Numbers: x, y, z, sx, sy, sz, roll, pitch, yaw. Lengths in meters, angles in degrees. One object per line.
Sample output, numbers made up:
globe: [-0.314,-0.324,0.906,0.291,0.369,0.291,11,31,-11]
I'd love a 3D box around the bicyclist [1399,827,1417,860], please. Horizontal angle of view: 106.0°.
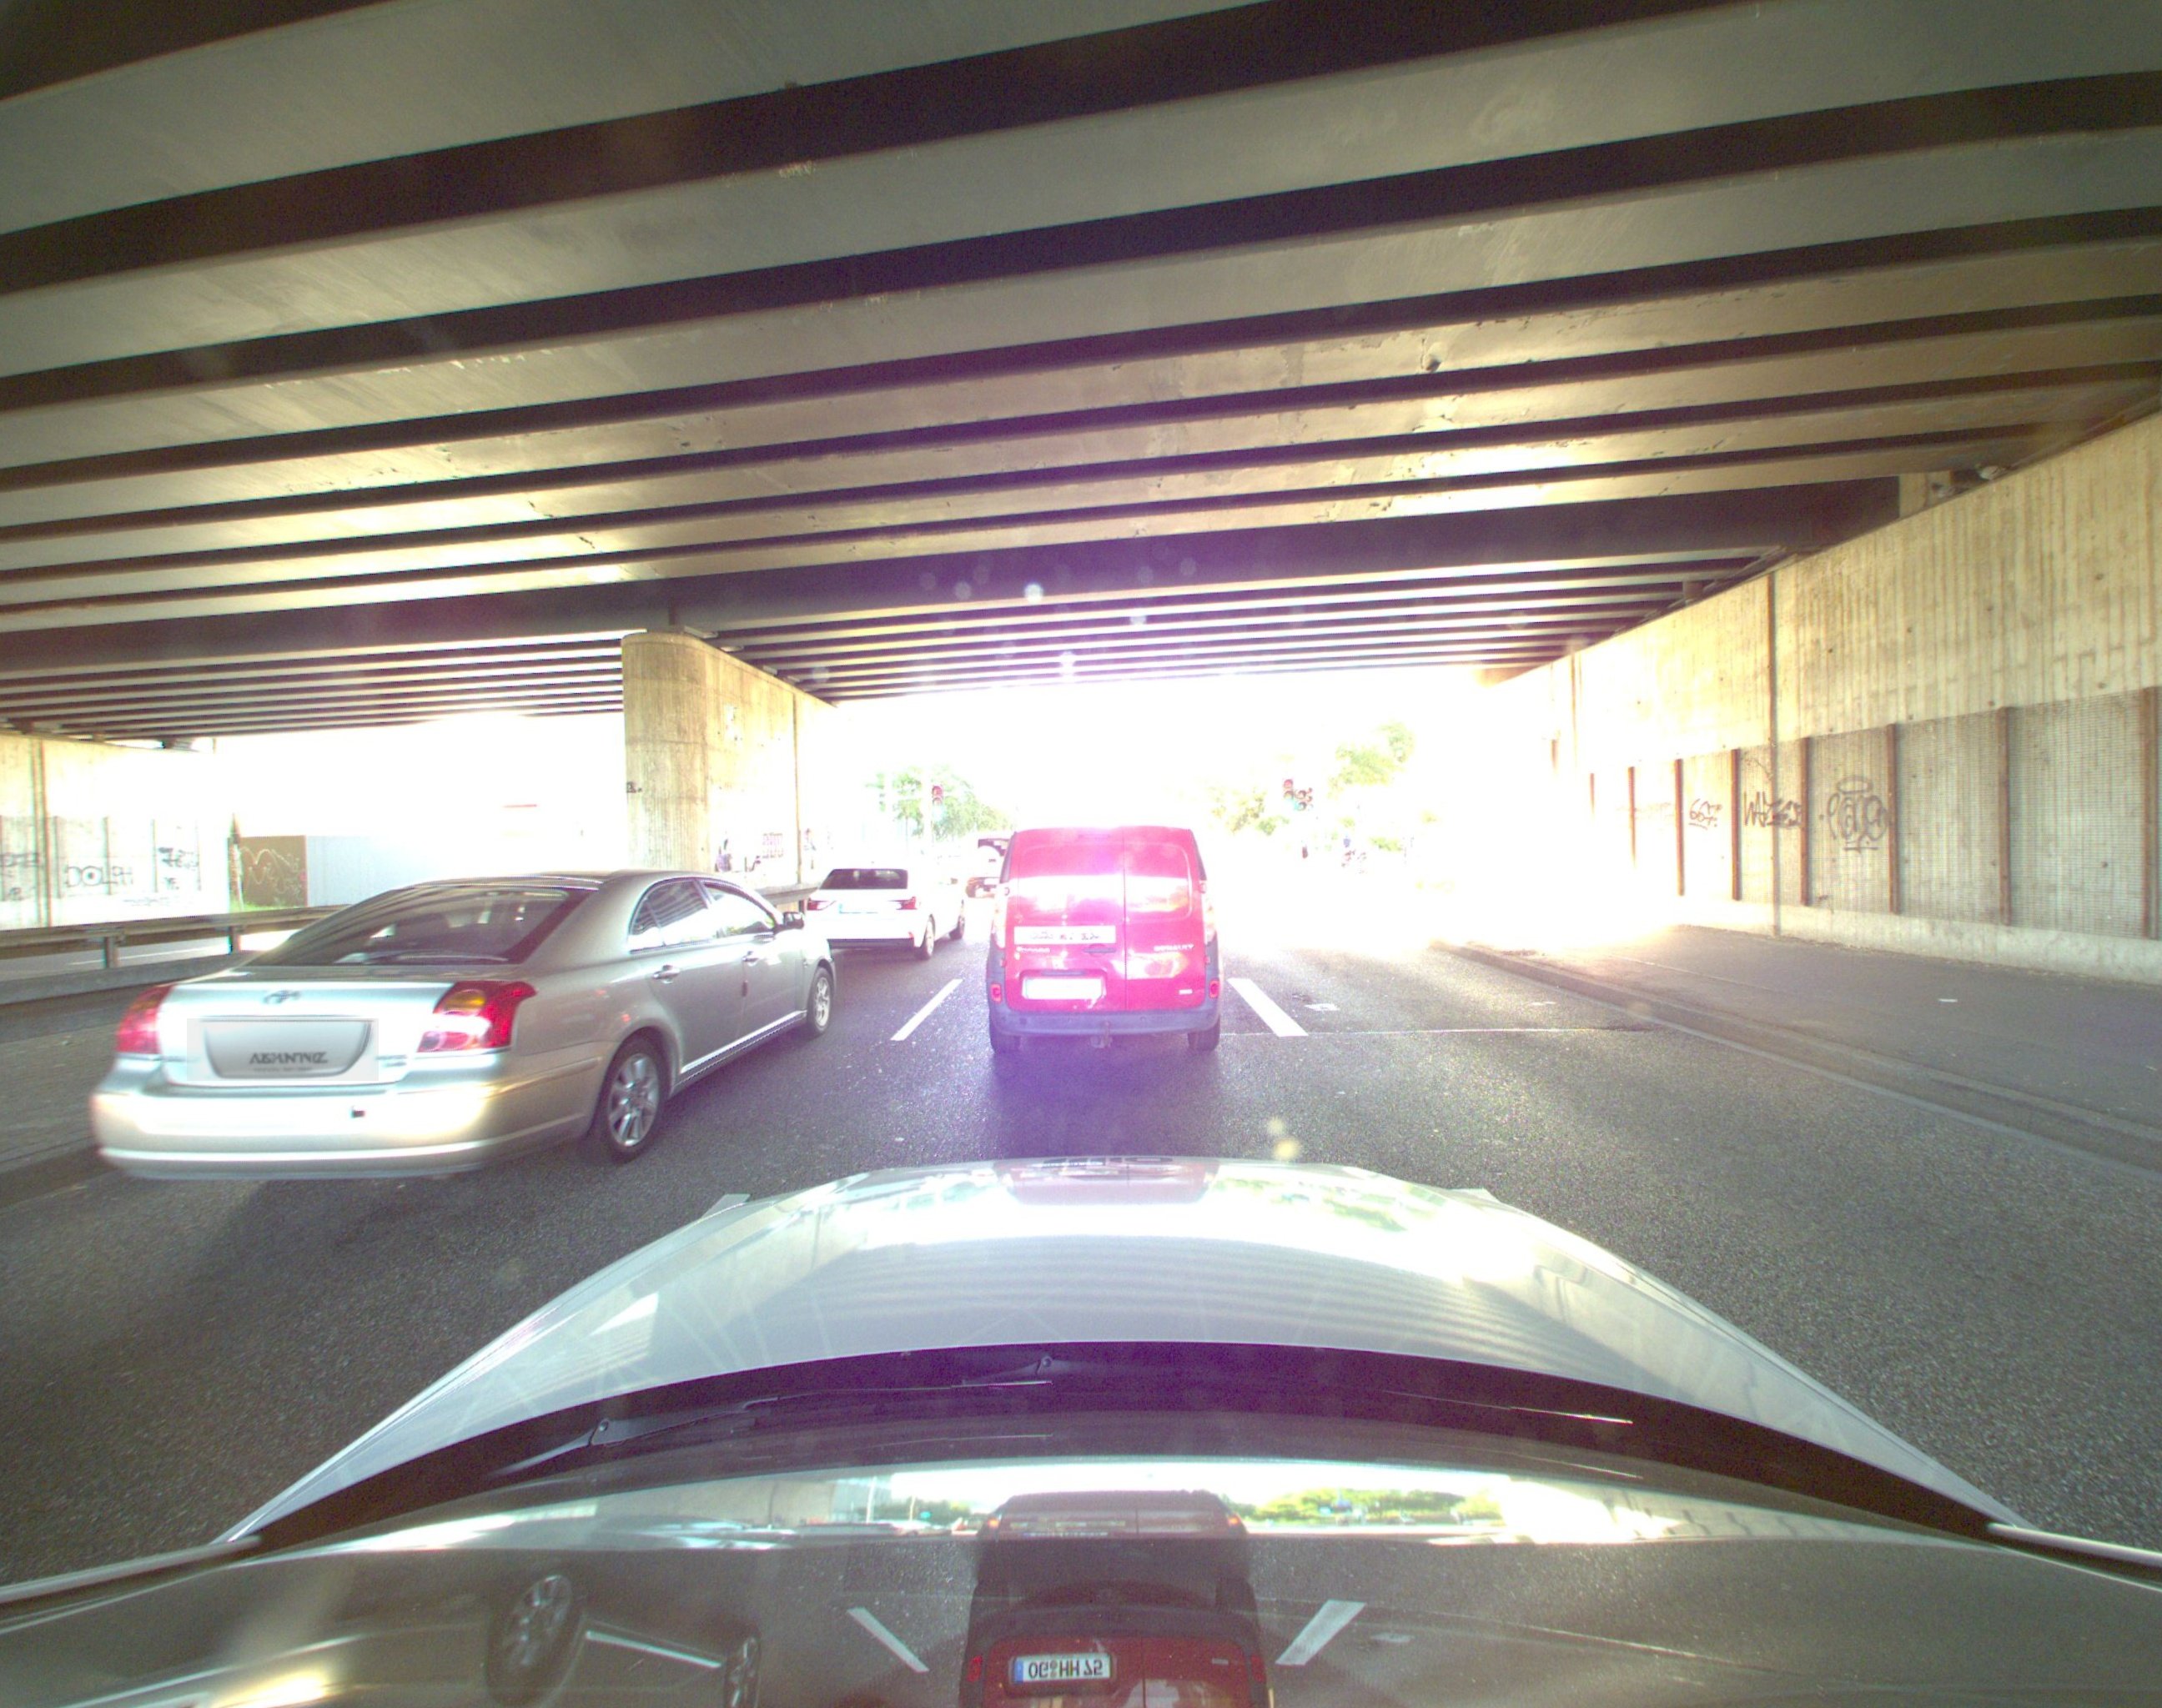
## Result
bicyclist: [15.134,-0.483,37.659,0.645,1.480,0.620,-1,1,9]

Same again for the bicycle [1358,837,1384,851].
bicycle: [21.194,-0.737,59.496,1.733,1.023,0.596,-1,-1,13]

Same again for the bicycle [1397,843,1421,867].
bicycle: [15.151,0.043,37.698,0.663,1.023,1.755,-1,3,9]

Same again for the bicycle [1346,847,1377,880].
bicycle: [9.079,0.316,26.366,0.588,1.023,1.754,0,-1,7]

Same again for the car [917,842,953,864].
car: [-12.922,-0.114,72.159,1.815,1.737,4.637,-4,0,6]

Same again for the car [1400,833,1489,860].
car: [21.450,-0.428,48.196,4.521,1.514,1.832,0,-1,9]

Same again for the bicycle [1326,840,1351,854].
bicycle: [19.192,-0.548,60.724,1.734,1.023,0.595,-1,-1,10]

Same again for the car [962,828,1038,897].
car: [-2.453,0.272,25.796,1.794,1.989,4.591,0,-1,2]

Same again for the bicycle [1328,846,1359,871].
bicycle: [11.429,0.201,35.536,0.669,1.023,2.054,0,-1,-1]

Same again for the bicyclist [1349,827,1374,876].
bicyclist: [9.051,-0.067,26.320,0.588,1.548,0.770,0,-1,7]

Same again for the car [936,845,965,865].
car: [-12.679,0.056,79.535,1.818,1.737,4.532,-4,0,2]

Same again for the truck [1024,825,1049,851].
truck: [-5.582,-1.956,103.424,2.399,3.026,6.661,-4,0,3]

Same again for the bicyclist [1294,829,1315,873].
bicyclist: [8.330,-0.116,30.374,0.589,1.613,0.943,0,-1,4]

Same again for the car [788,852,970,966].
car: [-2.925,0.721,12.618,1.807,1.438,3.732,-1,1,1]

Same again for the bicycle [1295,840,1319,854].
bicycle: [17.259,-0.522,62.121,1.734,1.023,0.595,-1,-1,10]

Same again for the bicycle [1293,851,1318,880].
bicycle: [8.349,0.423,30.368,0.589,1.023,1.752,0,-1,5]

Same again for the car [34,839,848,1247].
car: [-3.004,0.705,5.199,1.727,1.480,4.319,-1,0,0]

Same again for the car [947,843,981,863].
car: [-10.495,-0.094,73.262,1.815,1.625,4.537,-4,0,6]

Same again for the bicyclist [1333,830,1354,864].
bicyclist: [11.398,-0.286,35.365,0.663,1.474,0.751,0,-1,0]

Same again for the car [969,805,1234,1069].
car: [0.202,0.584,7.585,1.798,1.794,4.001,0,-1,2]
